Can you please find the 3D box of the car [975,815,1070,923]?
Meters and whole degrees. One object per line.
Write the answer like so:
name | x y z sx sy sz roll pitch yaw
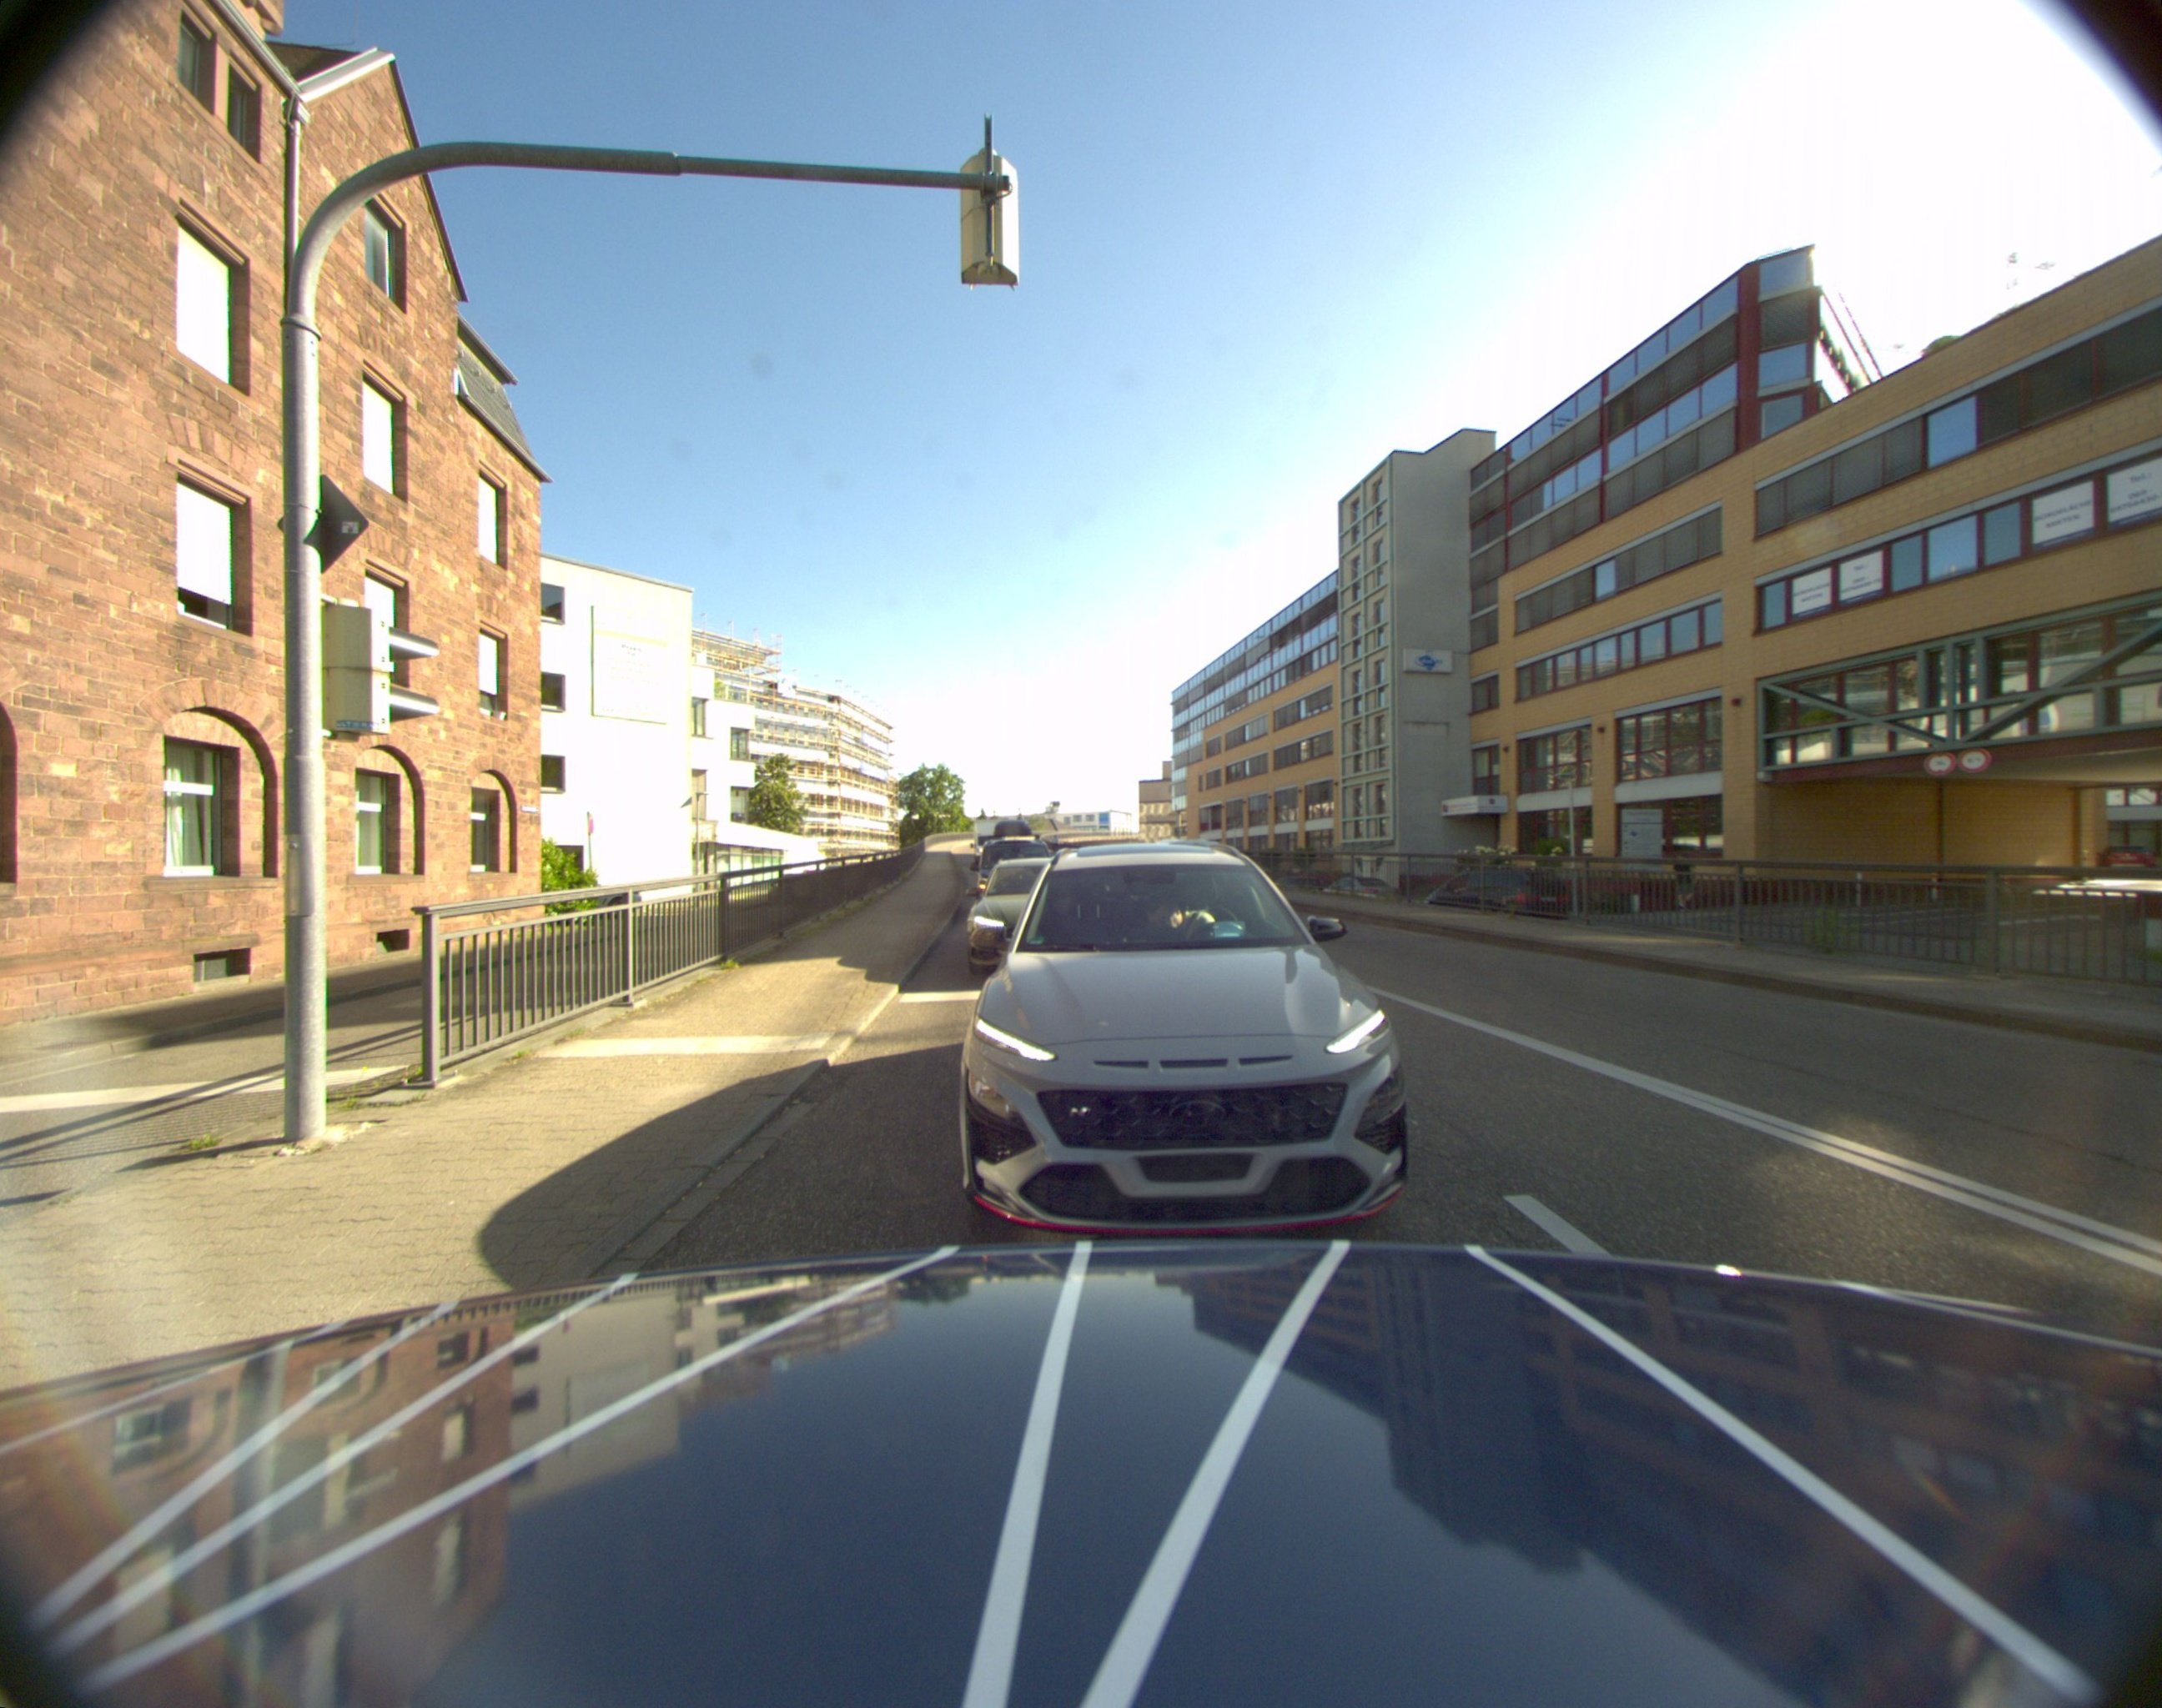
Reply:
car | -1.440 0.344 18.290 1.951 2.248 4.783 0 -1 -5

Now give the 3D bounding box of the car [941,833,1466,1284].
car | 0.510 0.749 4.839 1.878 1.612 4.197 0 0 2

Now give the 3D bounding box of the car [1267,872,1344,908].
car | 10.416 1.628 35.553 1.885 1.554 3.997 0 -1 -9

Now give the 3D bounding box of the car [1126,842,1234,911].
car | 2.671 0.547 21.562 1.838 1.745 4.485 0 1 -9

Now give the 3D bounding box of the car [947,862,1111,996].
car | -0.760 0.889 11.091 1.879 1.462 4.633 0 0 -4

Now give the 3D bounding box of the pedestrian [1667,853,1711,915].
pedestrian | 18.613 0.898 23.272 0.747 1.840 0.705 -2 0 -5

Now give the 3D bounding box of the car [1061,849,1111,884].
car | 0.155 0.578 37.520 1.688 1.593 4.753 0 1 -9

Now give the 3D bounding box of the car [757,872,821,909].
car | -13.349 1.632 34.977 2.054 1.522 4.089 -1 -1 -11

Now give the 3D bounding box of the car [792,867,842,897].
car | -14.486 1.498 41.854 2.054 1.522 4.089 -1 -1 -11

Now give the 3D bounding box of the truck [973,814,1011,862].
truck | -6.311 -1.019 53.877 2.504 3.109 6.956 -1 -1 -7

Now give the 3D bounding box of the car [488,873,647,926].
car | -17.044 1.450 25.312 4.101 1.522 1.914 0 -1 -44

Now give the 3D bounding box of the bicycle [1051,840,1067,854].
bicycle | -1.998 -0.665 69.204 1.083 1.223 2.781 -2 1 -9

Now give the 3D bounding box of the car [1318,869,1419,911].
car | 11.391 1.368 30.457 1.881 1.514 4.157 0 -1 -11

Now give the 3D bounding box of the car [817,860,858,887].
car | -15.788 1.238 49.444 2.054 1.676 4.089 -1 -1 -11

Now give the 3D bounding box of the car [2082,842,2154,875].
car | 54.033 0.227 39.654 4.007 1.512 1.763 -3 1 -43

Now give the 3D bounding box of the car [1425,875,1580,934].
car | 12.418 1.417 22.712 1.639 1.514 4.156 0 -1 -14

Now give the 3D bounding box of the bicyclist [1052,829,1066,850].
bicyclist | -2.026 -1.290 69.192 1.083 1.861 1.083 -2 1 -9
